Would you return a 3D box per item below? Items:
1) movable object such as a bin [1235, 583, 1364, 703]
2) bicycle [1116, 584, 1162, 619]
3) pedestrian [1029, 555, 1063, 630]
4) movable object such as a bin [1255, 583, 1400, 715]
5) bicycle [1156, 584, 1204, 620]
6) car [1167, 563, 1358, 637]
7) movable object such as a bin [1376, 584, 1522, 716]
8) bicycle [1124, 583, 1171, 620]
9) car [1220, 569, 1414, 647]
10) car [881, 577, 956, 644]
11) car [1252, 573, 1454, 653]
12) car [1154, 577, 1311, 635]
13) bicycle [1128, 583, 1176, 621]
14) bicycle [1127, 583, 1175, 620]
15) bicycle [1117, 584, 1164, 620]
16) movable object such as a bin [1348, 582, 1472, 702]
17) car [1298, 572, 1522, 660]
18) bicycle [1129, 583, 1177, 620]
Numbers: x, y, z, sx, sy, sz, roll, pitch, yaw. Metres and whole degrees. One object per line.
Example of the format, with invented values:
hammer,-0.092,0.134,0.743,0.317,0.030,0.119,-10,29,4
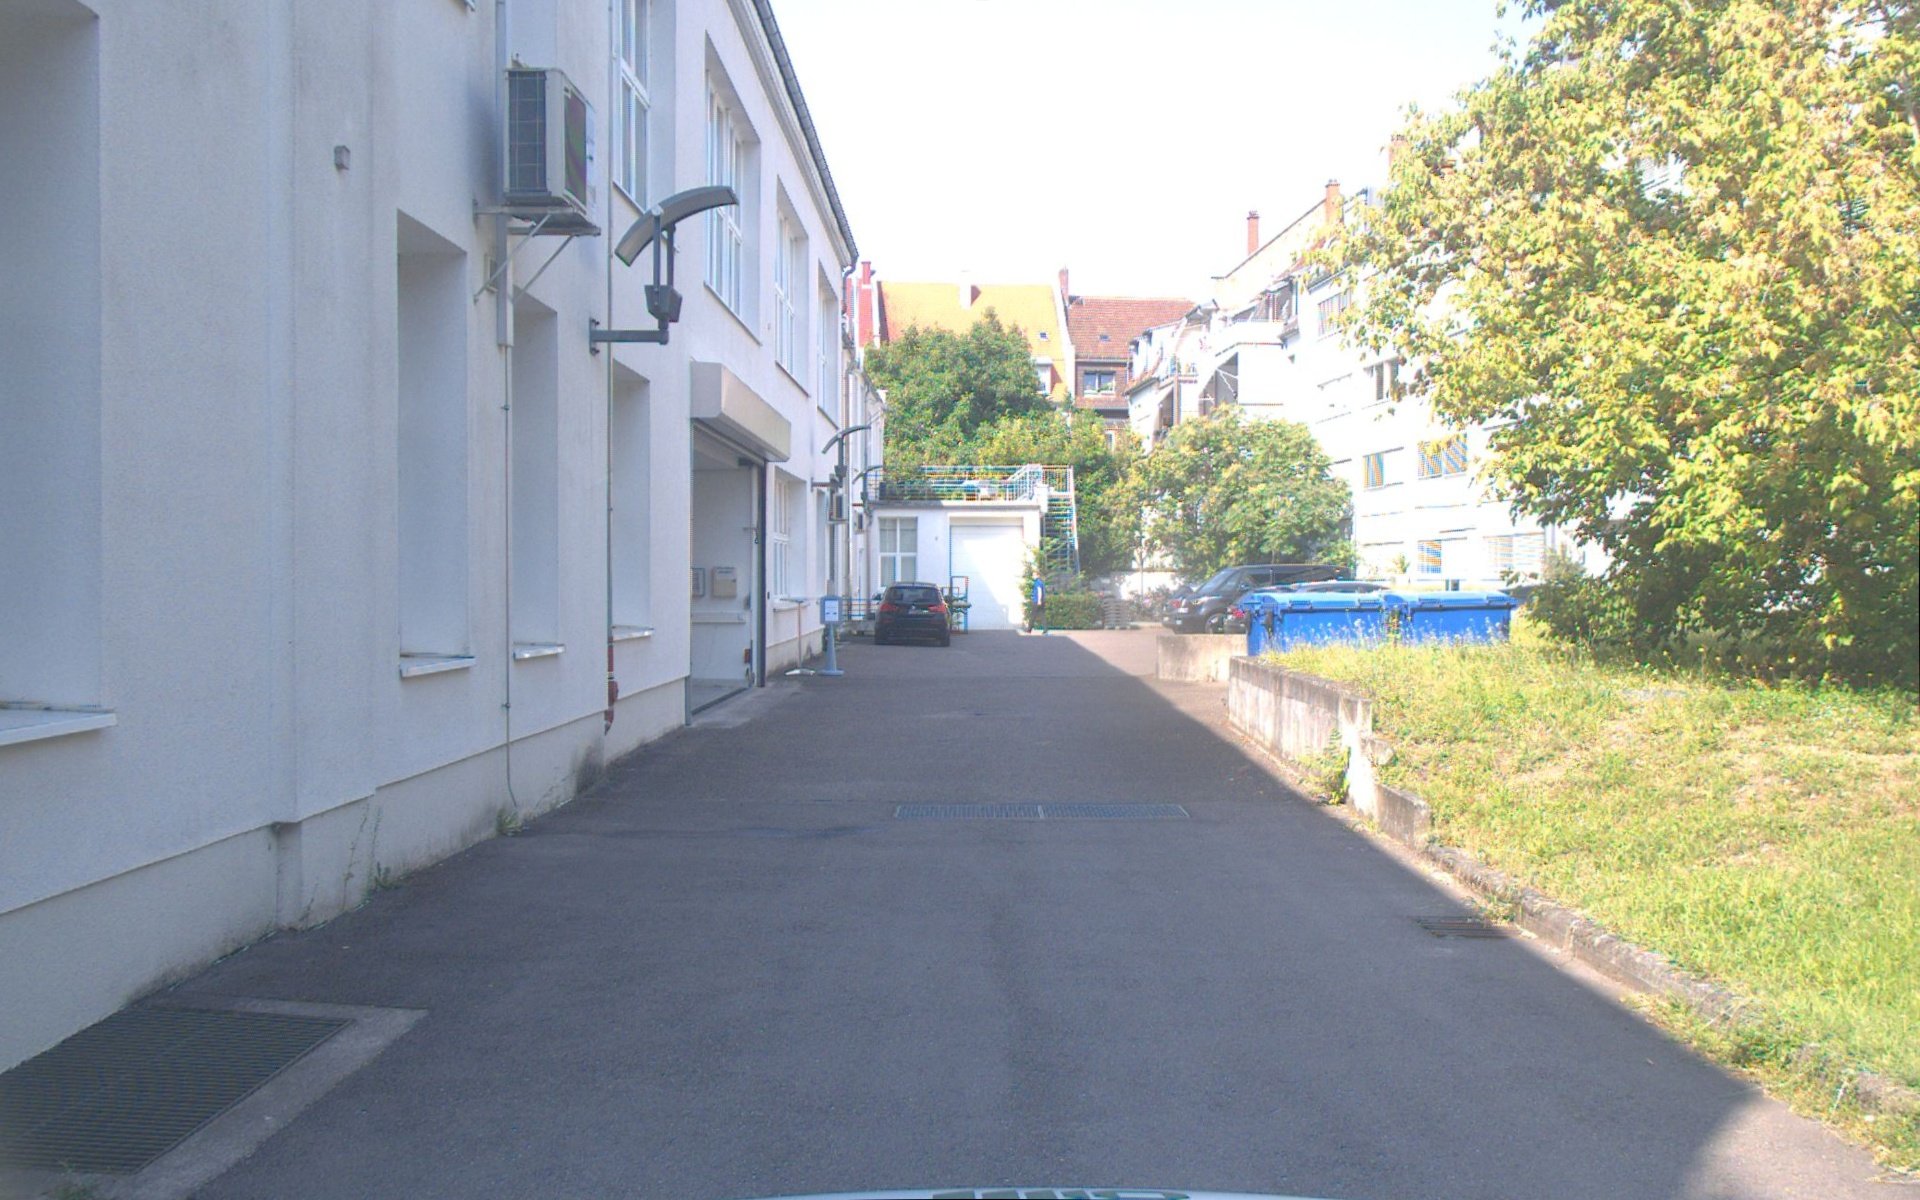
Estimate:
movable object such as a bin,3.985,0.488,19.536,1.273,1.364,1.194,0,0,0
bicycle,6.386,0.051,59.026,1.591,1.235,0.424,-1,0,-4
pedestrian,2.395,-0.205,45.961,0.895,2.049,0.935,0,0,1
movable object such as a bin,3.927,0.512,17.784,1.283,1.364,1.100,0,0,-3
bicycle,7.524,0.066,56.637,1.588,1.235,0.327,-1,0,16
car,7.670,-0.001,42.091,4.417,1.826,1.879,0,0,-9
movable object such as a bin,5.232,0.522,17.766,1.202,1.364,1.076,0,0,-4
bicycle,6.470,0.056,57.111,1.588,1.235,0.327,-1,0,14
car,8.128,0.184,37.883,4.034,1.721,1.770,0,0,-2
car,-0.957,0.232,39.025,1.654,1.484,3.922,0,0,-1
car,8.284,0.275,35.062,3.786,1.616,1.878,0,0,-5
car,7.377,0.150,44.980,3.859,1.508,1.771,0,0,-9
bicycle,6.458,0.061,55.681,1.589,1.235,0.327,-1,0,2
bicycle,6.502,0.059,56.296,1.589,1.235,0.327,-1,0,2
bicycle,6.294,0.054,57.790,1.590,1.235,0.424,-1,0,0
movable object such as a bin,5.284,0.482,19.483,1.209,1.364,1.117,0,0,4
car,8.620,0.297,31.854,3.729,1.616,1.893,0,0,-9
bicycle,6.527,0.060,56.002,1.589,1.235,0.327,-1,0,2
